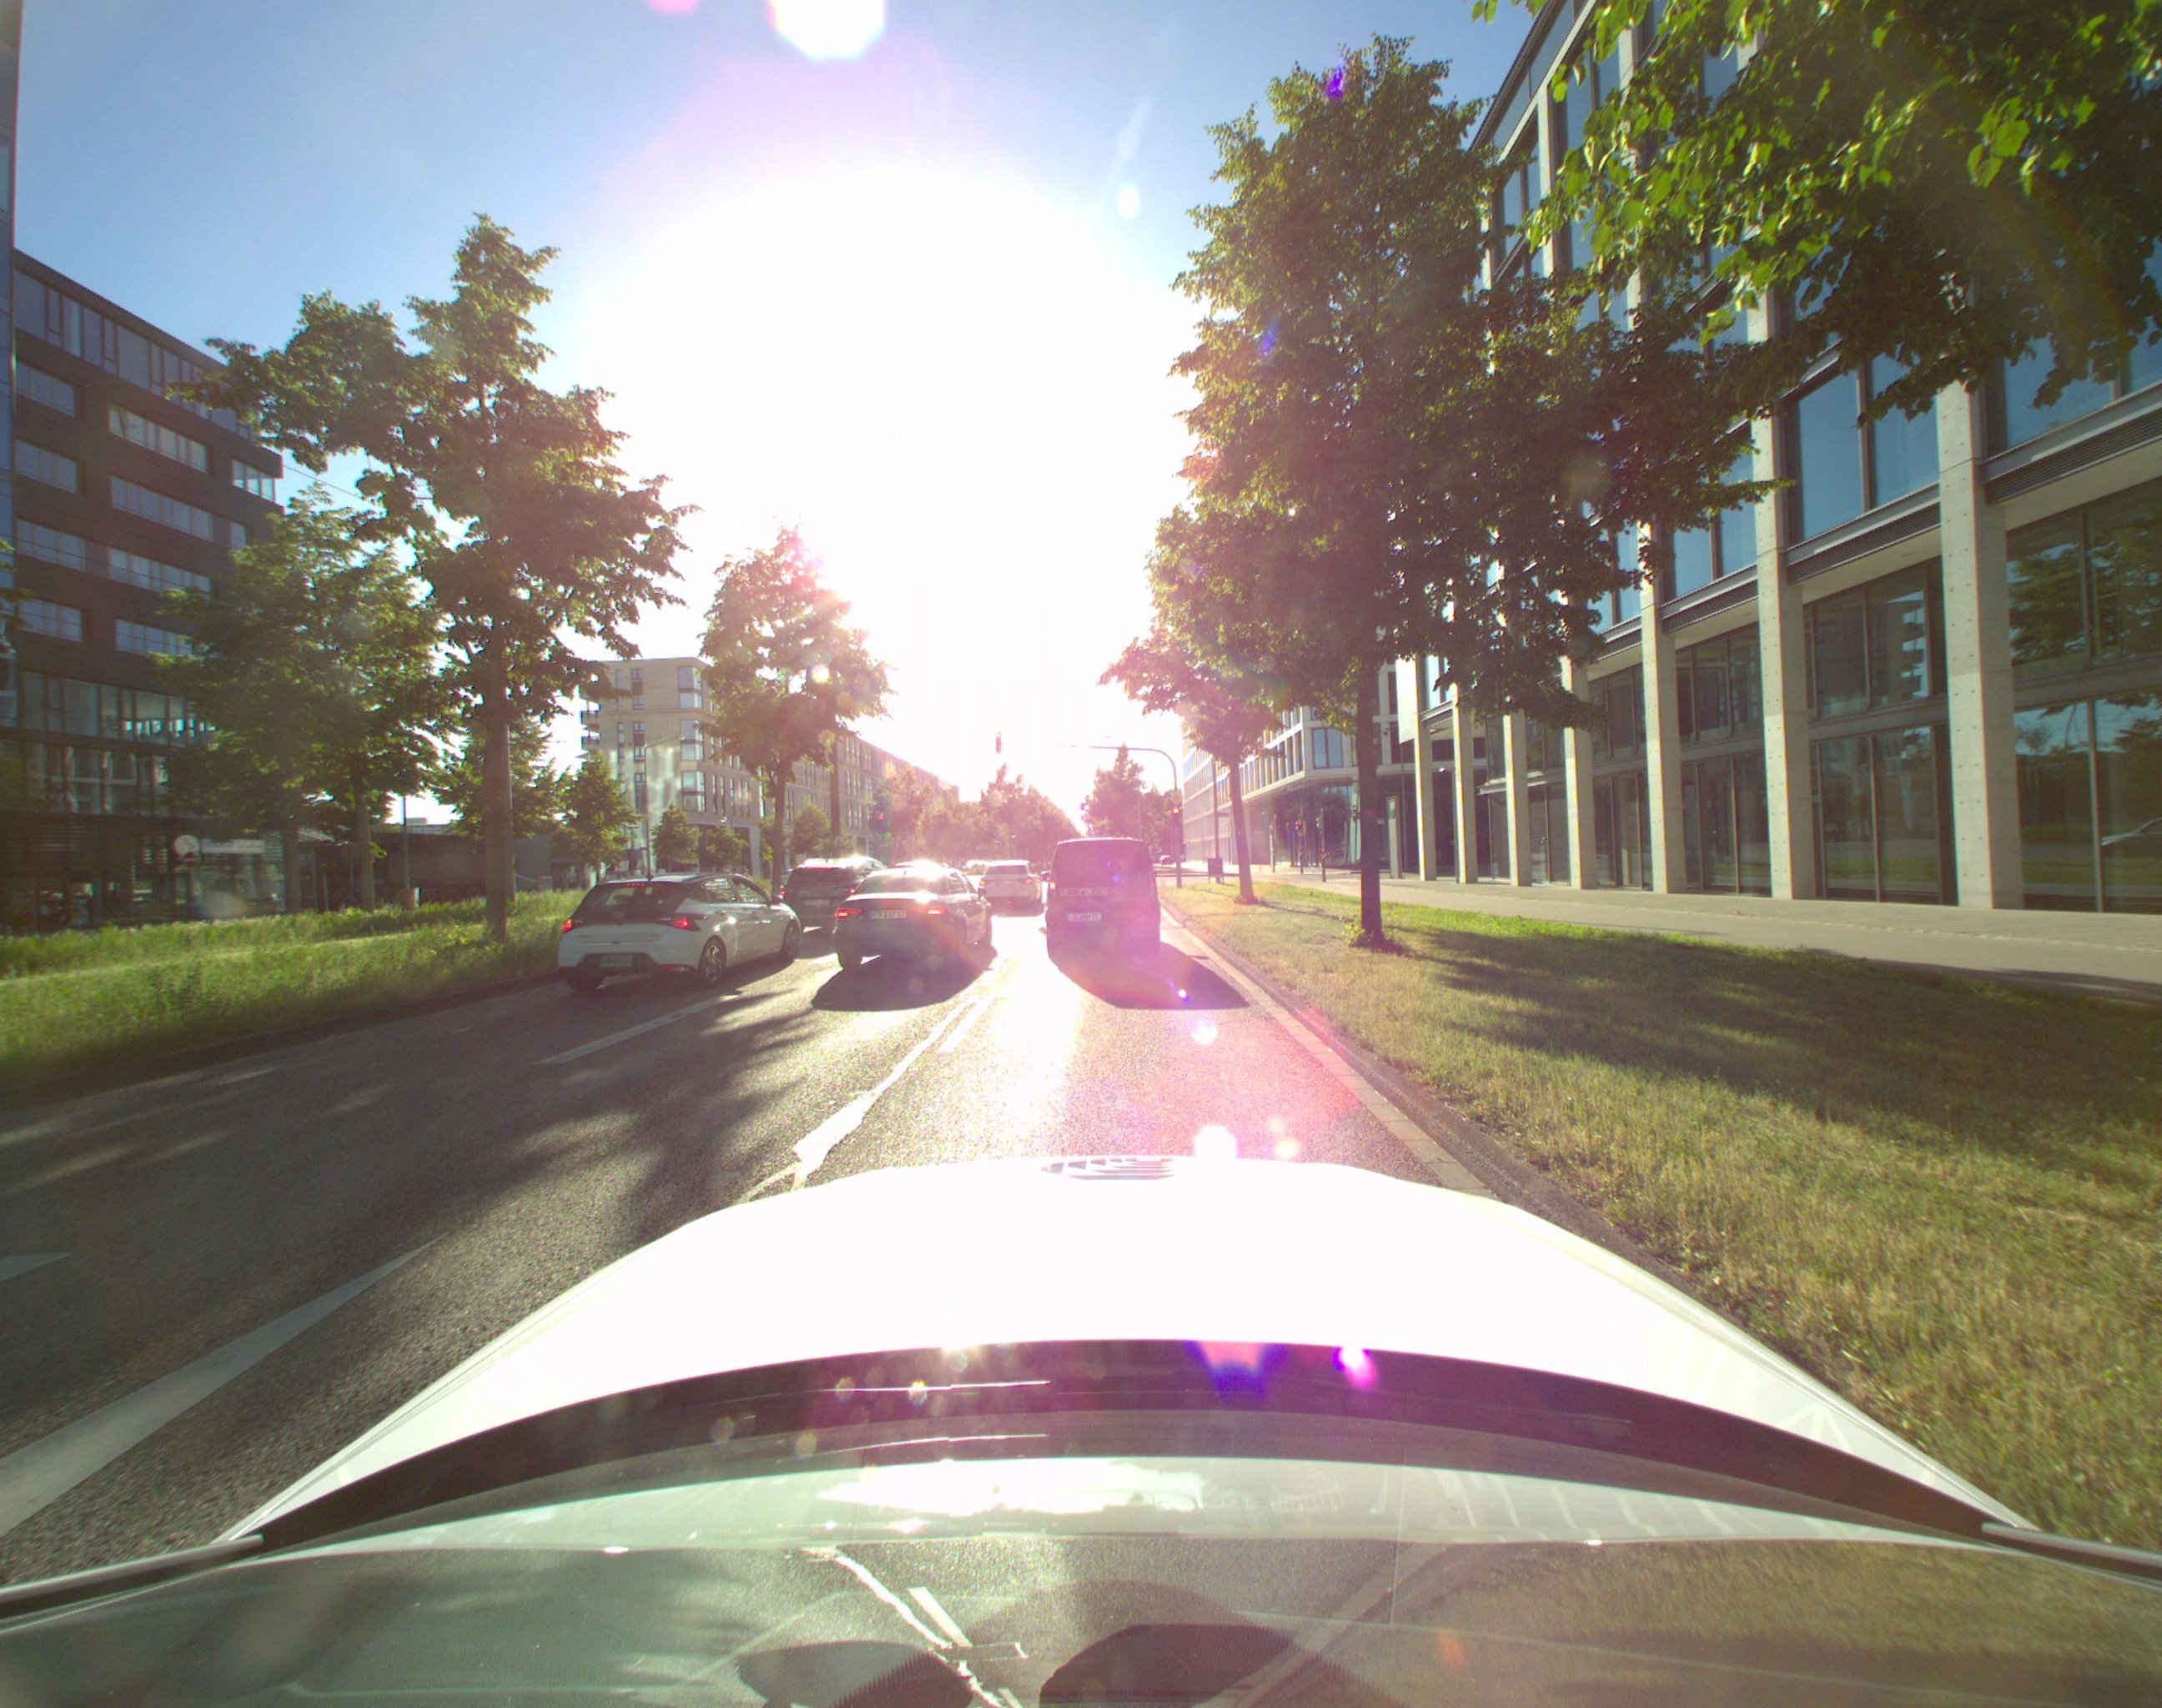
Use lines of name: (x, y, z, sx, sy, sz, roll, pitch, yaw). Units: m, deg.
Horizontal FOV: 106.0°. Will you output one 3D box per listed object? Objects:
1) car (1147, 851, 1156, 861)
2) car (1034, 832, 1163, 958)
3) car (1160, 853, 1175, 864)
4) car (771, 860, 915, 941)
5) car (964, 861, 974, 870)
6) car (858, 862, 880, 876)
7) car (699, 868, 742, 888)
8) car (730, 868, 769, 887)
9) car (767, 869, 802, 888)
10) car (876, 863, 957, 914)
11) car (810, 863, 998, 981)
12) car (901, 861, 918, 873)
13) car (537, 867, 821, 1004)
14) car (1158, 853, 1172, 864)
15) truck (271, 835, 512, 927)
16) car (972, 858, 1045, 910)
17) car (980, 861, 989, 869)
car: (17.882, 0.565, 205.970, 1.986, 2.497, 4.988, -2, 0, 2)
car: (0.315, 0.606, 13.939, 1.835, 1.780, 4.001, -2, 0, 2)
car: (14.397, 0.731, 135.573, 1.986, 1.782, 4.001, -2, 0, 2)
car: (-5.190, 0.936, 18.465, 1.793, 1.447, 4.569, -4, 0, 0)
car: (-28.585, 2.941, 207.908, 1.986, 2.013, 4.001, -2, 0, 2)
car: (-30.768, 2.157, 118.323, 1.986, 2.013, 4.001, -2, 0, 2)
car: (-30.879, 1.995, 69.804, 1.758, 1.520, 4.001, -3, 0, 2)
car: (-30.836, 2.185, 75.871, 1.758, 1.520, 4.001, -3, 0, 2)
car: (-31.641, 2.583, 86.972, 1.986, 1.814, 4.372, -2, 0, 2)
car: (-5.325, 1.077, 26.926, 1.794, 1.483, 4.566, 1, 0, -1)
car: (-2.523, 0.917, 12.781, 1.835, 1.426, 4.340, -2, 0, 2)
car: (-30.505, 2.336, 145.184, 1.986, 2.013, 4.001, -2, 0, 2)
car: (-5.388, 0.985, 11.737, 1.793, 1.447, 4.567, -2, 0, 0)
car: (14.504, 0.779, 140.582, 1.986, 1.782, 4.001, -2, 0, 2)
truck: (-33.448, 1.170, 40.378, 2.880, 3.853, 10.217, -2, 0, 2)
car: (-2.182, 0.877, 25.502, 1.797, 1.426, 3.902, -2, 0, 2)
car: (-27.440, 3.167, 231.537, 1.986, 2.013, 4.001, -2, 0, 2)
